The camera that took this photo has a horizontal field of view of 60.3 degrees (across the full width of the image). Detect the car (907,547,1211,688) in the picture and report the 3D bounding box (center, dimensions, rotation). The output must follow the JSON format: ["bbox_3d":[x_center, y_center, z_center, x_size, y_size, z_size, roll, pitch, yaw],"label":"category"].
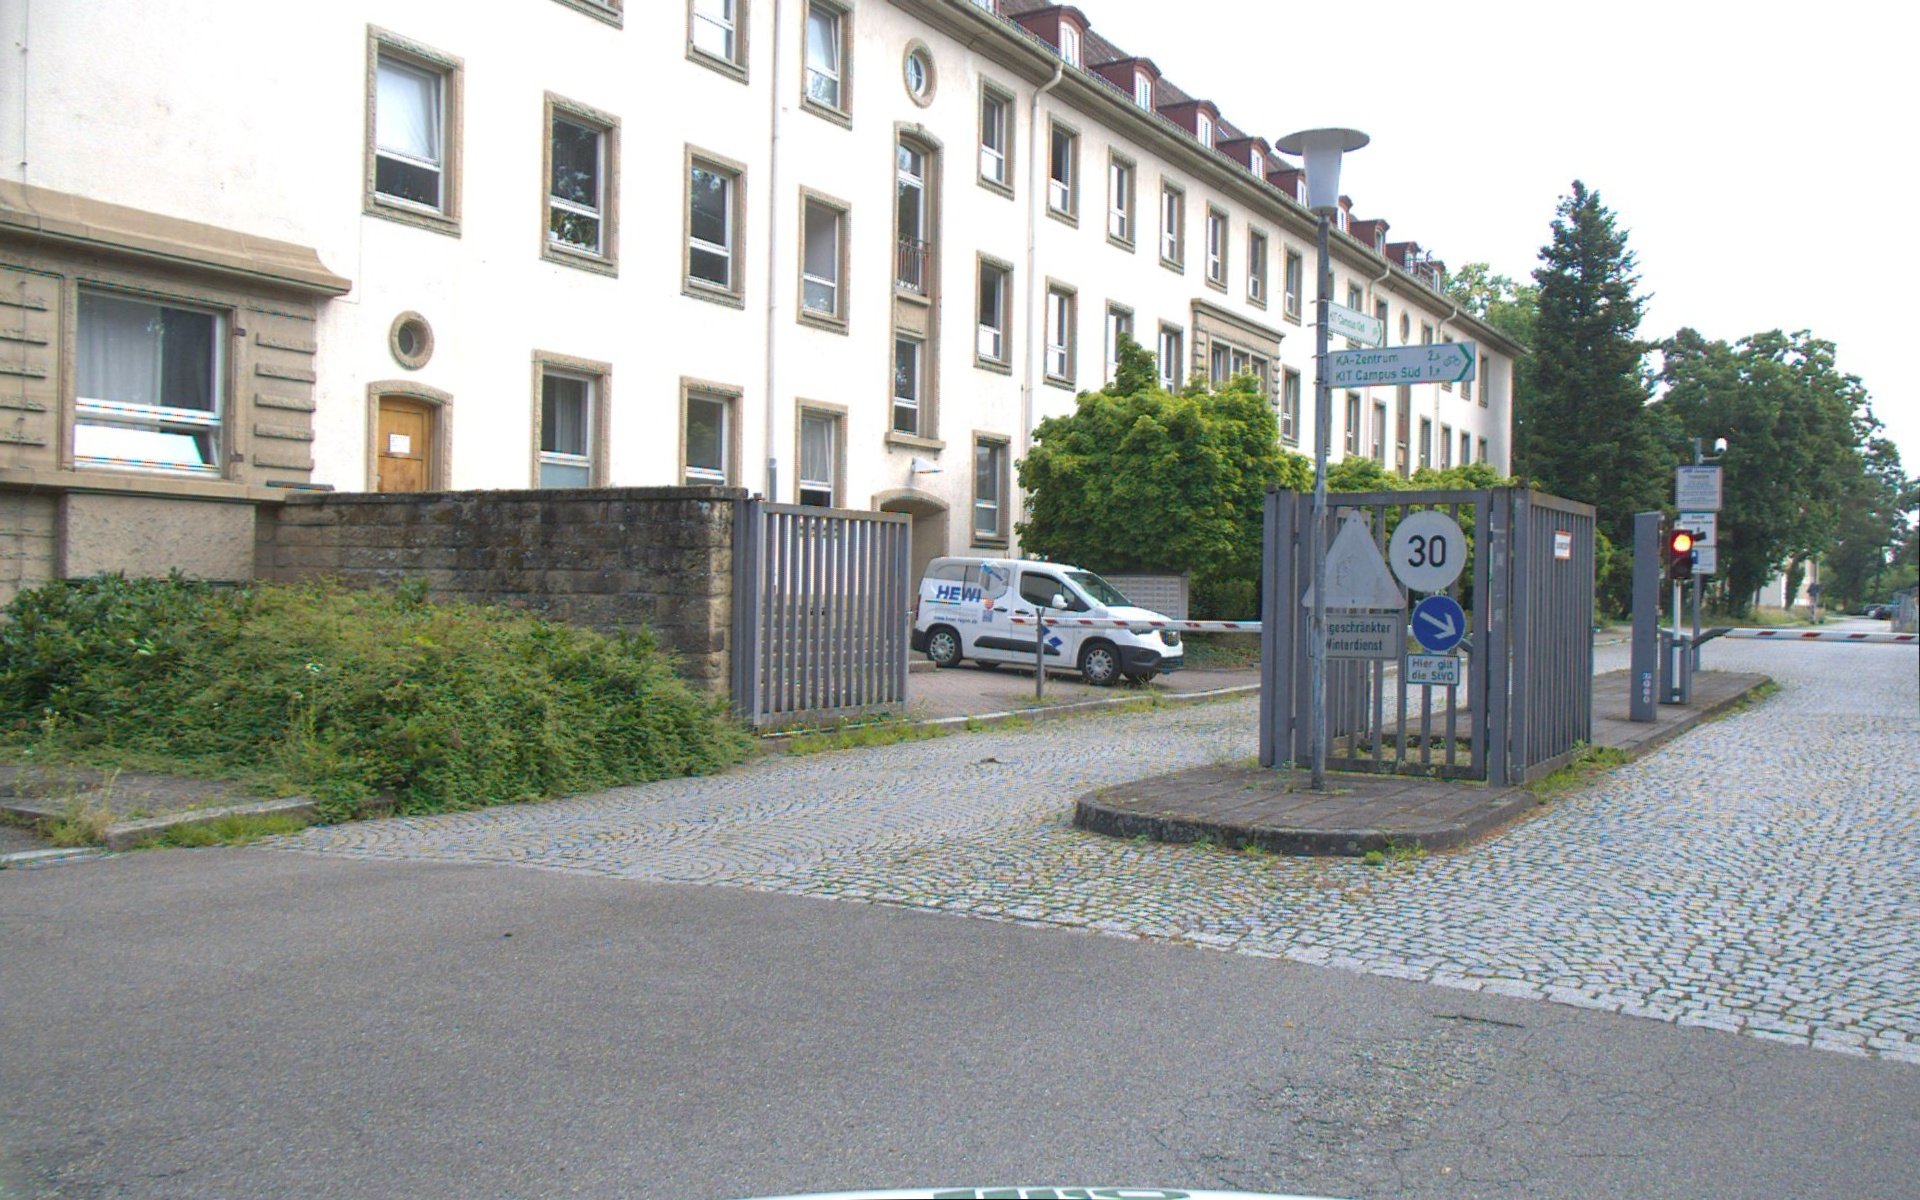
[{"bbox_3d":[1.550,0.220,26.225,4.353,1.781,1.856,5,3,28],"label":"car"}]
